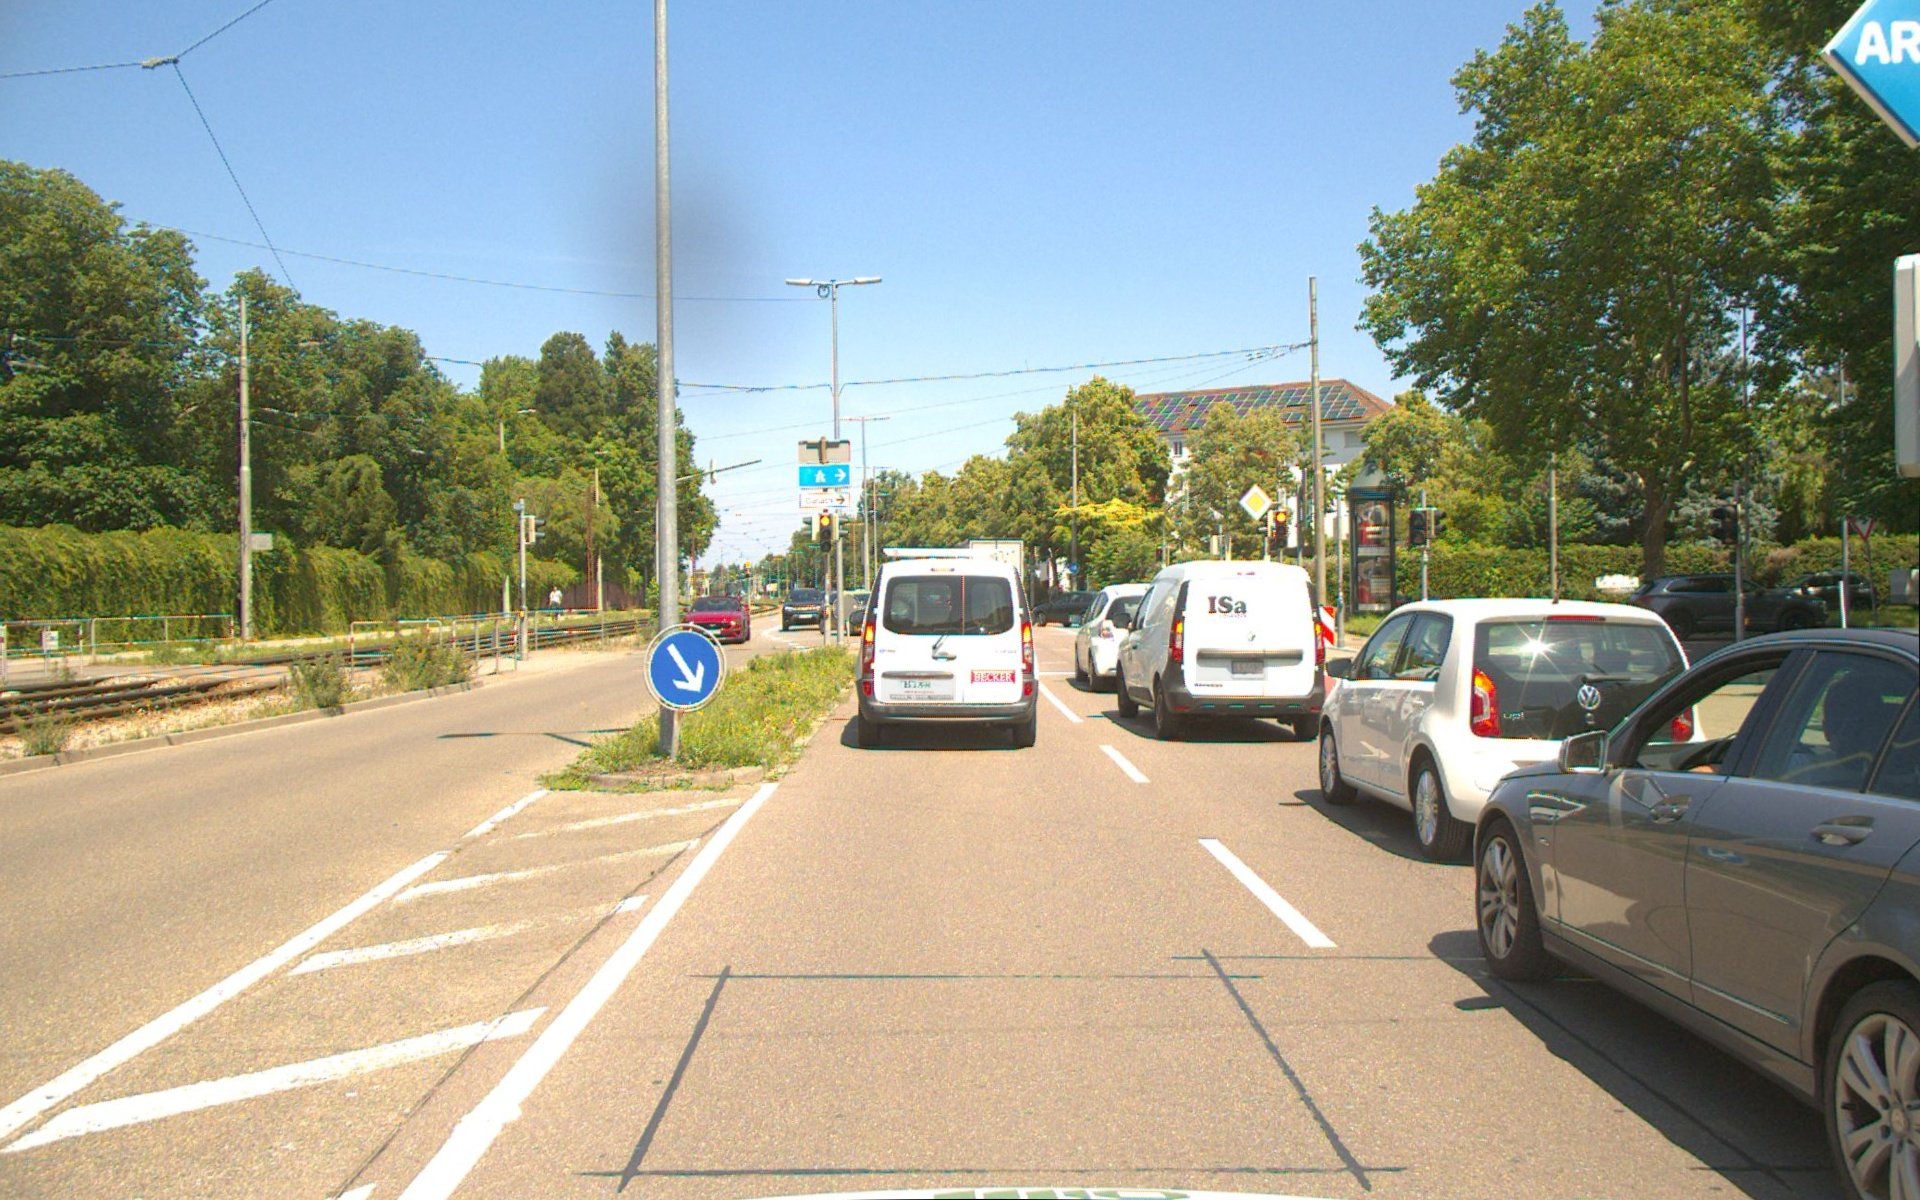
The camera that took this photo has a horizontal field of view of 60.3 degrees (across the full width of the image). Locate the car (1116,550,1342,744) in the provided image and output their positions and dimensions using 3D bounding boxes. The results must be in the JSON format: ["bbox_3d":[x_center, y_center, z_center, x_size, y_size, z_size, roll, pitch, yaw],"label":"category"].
[{"bbox_3d":[2.797,0.438,18.000,1.675,1.862,4.012,-1,0,-2],"label":"car"}]

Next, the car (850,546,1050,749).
[{"bbox_3d":[-0.157,0.422,17.140,1.829,1.868,3.847,0,0,-2],"label":"car"}]

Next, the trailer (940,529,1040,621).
[{"bbox_3d":[1.327,-1.152,79.369,3.461,4.121,8.962,-1,0,-8],"label":"trailer"}]

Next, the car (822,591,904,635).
[{"bbox_3d":[-3.266,0.401,55.235,1.518,1.403,3.975,-1,0,-22],"label":"car"}]

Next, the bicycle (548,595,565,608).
[{"bbox_3d":[-22.036,0.077,90.369,0.549,0.659,1.720,-1,0,-1],"label":"bicycle"}]

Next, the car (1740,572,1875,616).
[{"bbox_3d":[30.825,-0.214,60.239,3.902,1.534,2.002,-1,0,7],"label":"car"}]

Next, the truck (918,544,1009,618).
[{"bbox_3d":[0.101,-1.004,88.131,3.510,3.696,8.791,-1,0,-9],"label":"truck"}]

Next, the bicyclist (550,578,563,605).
[{"bbox_3d":[-22.040,-0.466,90.304,0.546,1.504,0.561,-1,0,0],"label":"bicyclist"}]

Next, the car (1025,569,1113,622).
[{"bbox_3d":[4.360,-0.168,66.571,1.967,2.049,3.971,-1,0,-23],"label":"car"}]

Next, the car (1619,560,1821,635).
[{"bbox_3d":[19.655,-0.064,42.975,4.428,1.861,2.002,-1,0,14],"label":"car"}]

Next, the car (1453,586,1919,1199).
[{"bbox_3d":[3.030,0.704,4.956,1.759,1.475,4.417,-1,0,0],"label":"car"}]

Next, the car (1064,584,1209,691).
[{"bbox_3d":[2.665,0.517,25.753,1.720,1.512,3.999,-1,0,-2],"label":"car"}]

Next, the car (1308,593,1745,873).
[{"bbox_3d":[3.420,0.710,10.654,1.574,1.477,3.520,1,0,0],"label":"car"}]

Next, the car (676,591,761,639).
[{"bbox_3d":[-7.331,0.430,50.648,1.943,1.382,4.538,-1,0,0],"label":"car"}]

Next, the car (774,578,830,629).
[{"bbox_3d":[-6.242,0.119,65.070,1.957,1.892,3.992,-1,0,-9],"label":"car"}]

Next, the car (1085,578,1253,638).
[{"bbox_3d":[5.954,0.213,47.247,4.358,1.645,1.996,0,0,31],"label":"car"}]
